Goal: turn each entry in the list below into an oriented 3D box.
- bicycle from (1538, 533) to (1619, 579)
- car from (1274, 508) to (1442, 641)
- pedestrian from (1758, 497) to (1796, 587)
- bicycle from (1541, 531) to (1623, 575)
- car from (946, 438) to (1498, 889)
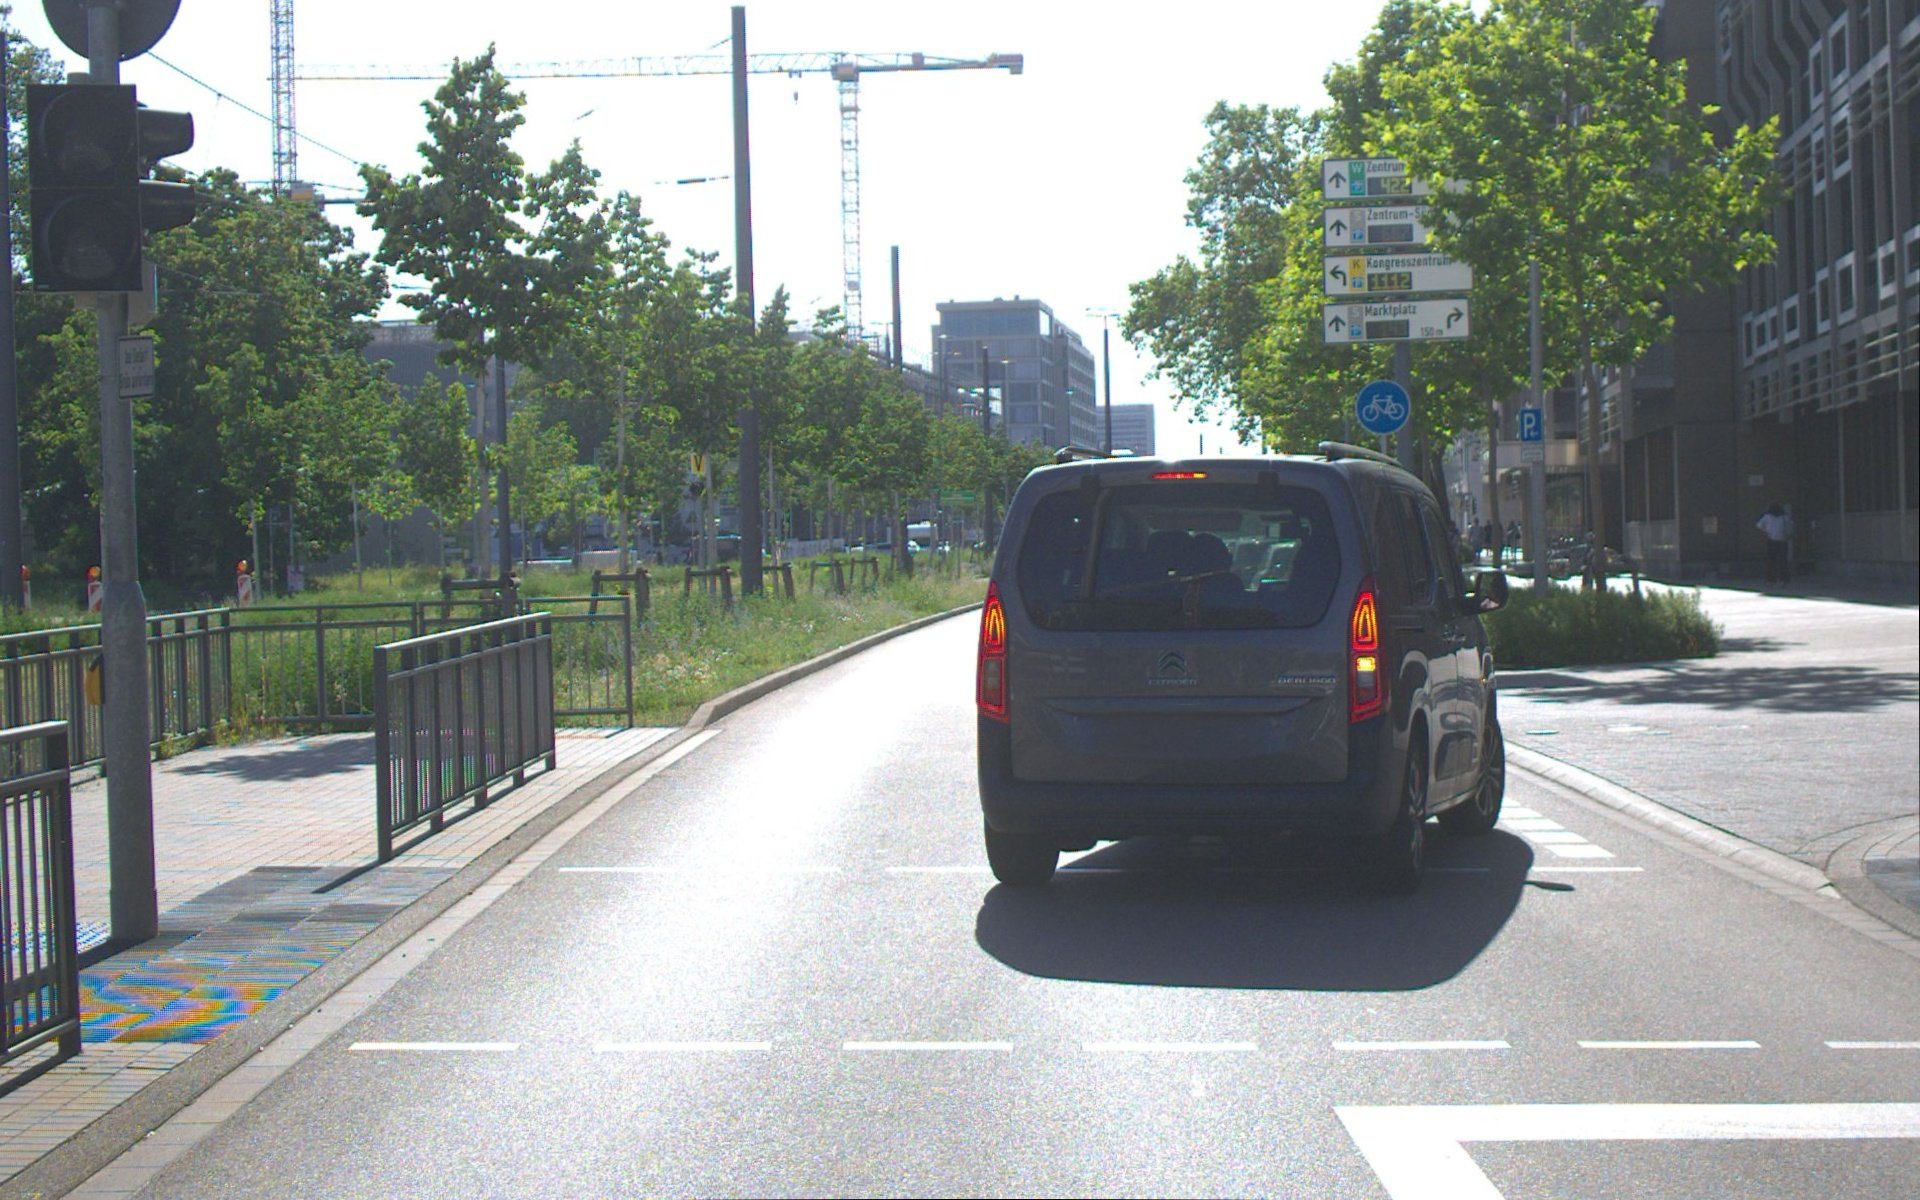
[{"bbox_3d":[14.925,-1.066,82.966,1.858,1.007,0.426,-3,1,9],"label":"bicycle"},{"bbox_3d":[5.252,-0.367,45.862,1.747,1.653,4.470,-1,1,1],"label":"car"},{"bbox_3d":[15.075,-1.067,63.435,0.511,1.617,0.674,-3,1,7],"label":"pedestrian"},{"bbox_3d":[14.797,-1.115,81.832,1.858,0.935,0.426,-3,1,9],"label":"bicycle"},{"bbox_3d":[1.331,0.219,15.551,1.813,1.746,4.165,-1,1,14],"label":"car"}]
